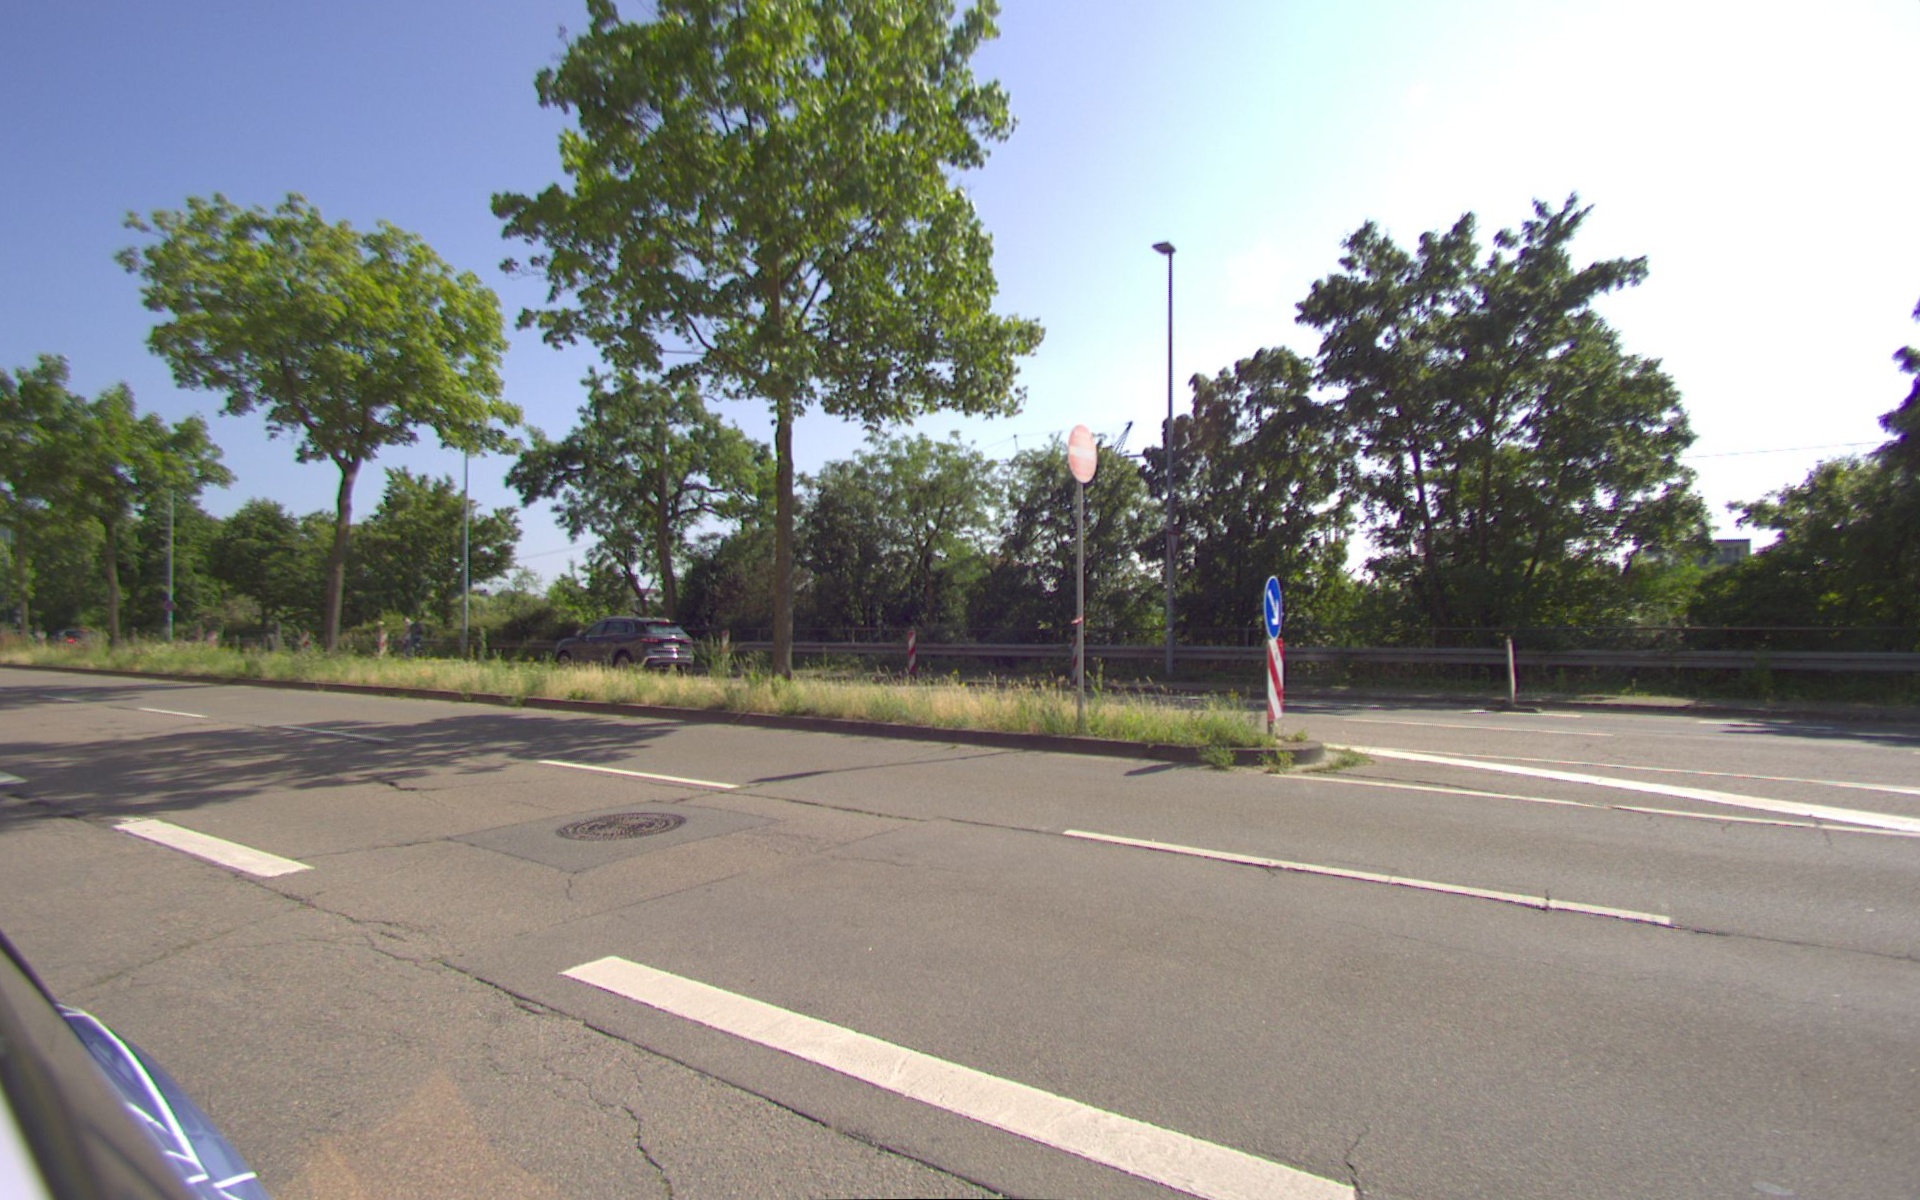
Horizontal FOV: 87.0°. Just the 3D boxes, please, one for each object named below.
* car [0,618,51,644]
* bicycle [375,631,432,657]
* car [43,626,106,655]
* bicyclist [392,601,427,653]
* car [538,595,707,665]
[{"bbox_3d":[-57.605,1.878,62.138,3.990,1.541,1.783,0,-1,34],"label":"car"},{"bbox_3d":[-20.184,1.579,36.681,2.332,0.912,0.688,-1,-1,30],"label":"bicycle"},{"bbox_3d":[-47.321,2.155,54.071,4.077,1.485,1.747,-1,-2,37],"label":"car"},{"bbox_3d":[-19.927,0.962,36.635,1.013,1.846,0.692,-1,-2,29],"label":"bicyclist"},{"bbox_3d":[-9.226,0.814,27.493,4.721,1.747,1.975,0,-3,36],"label":"car"}]
